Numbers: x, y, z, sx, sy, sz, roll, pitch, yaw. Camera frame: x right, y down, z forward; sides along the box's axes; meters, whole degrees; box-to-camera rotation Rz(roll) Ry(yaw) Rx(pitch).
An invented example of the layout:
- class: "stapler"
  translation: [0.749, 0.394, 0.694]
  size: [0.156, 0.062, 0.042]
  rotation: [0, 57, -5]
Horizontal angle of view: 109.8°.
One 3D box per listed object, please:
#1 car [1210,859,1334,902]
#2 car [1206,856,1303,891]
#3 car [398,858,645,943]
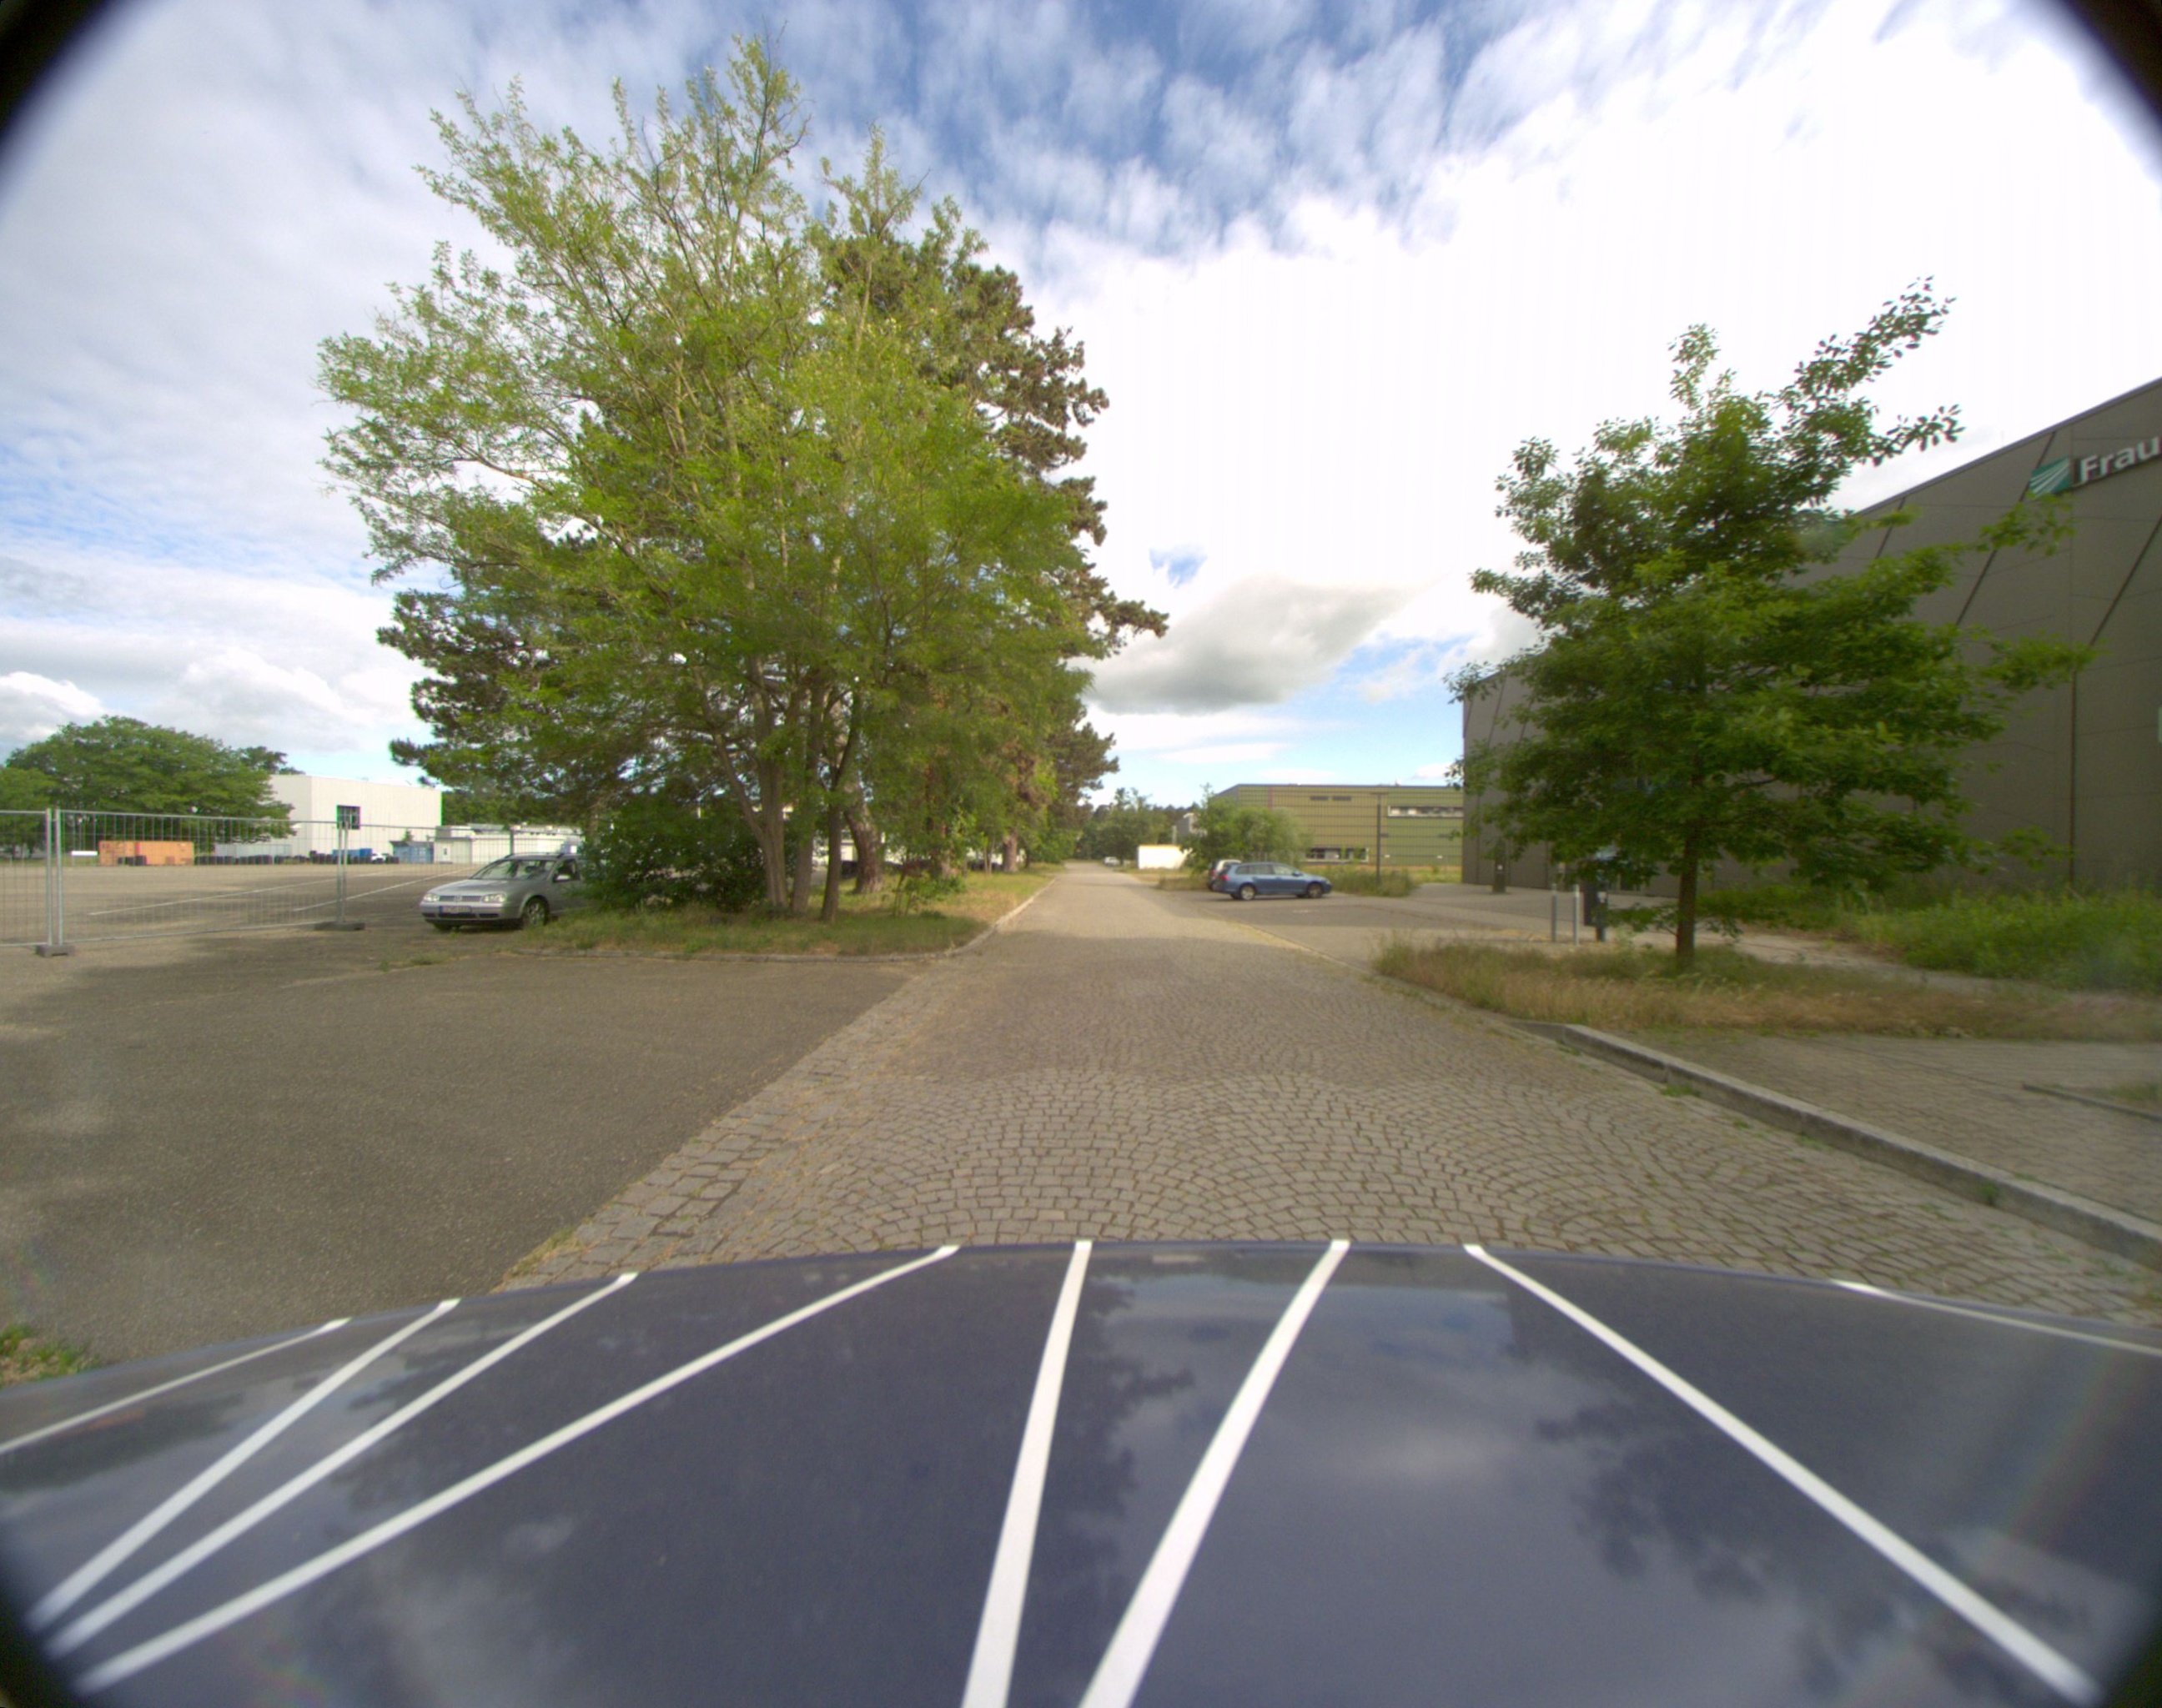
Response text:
- class: "car"
  translation: [7.456, 1.013, 29.923]
  size: [4.404, 1.501, 1.716]
  rotation: [-2, 0, -3]
- class: "car"
  translation: [8.428, 0.955, 37.248]
  size: [4.401, 1.537, 1.842]
  rotation: [-2, 0, 7]
- class: "car"
  translation: [-10.991, 0.822, 15.395]
  size: [1.759, 1.440, 4.327]
  rotation: [1, 0, 1]
